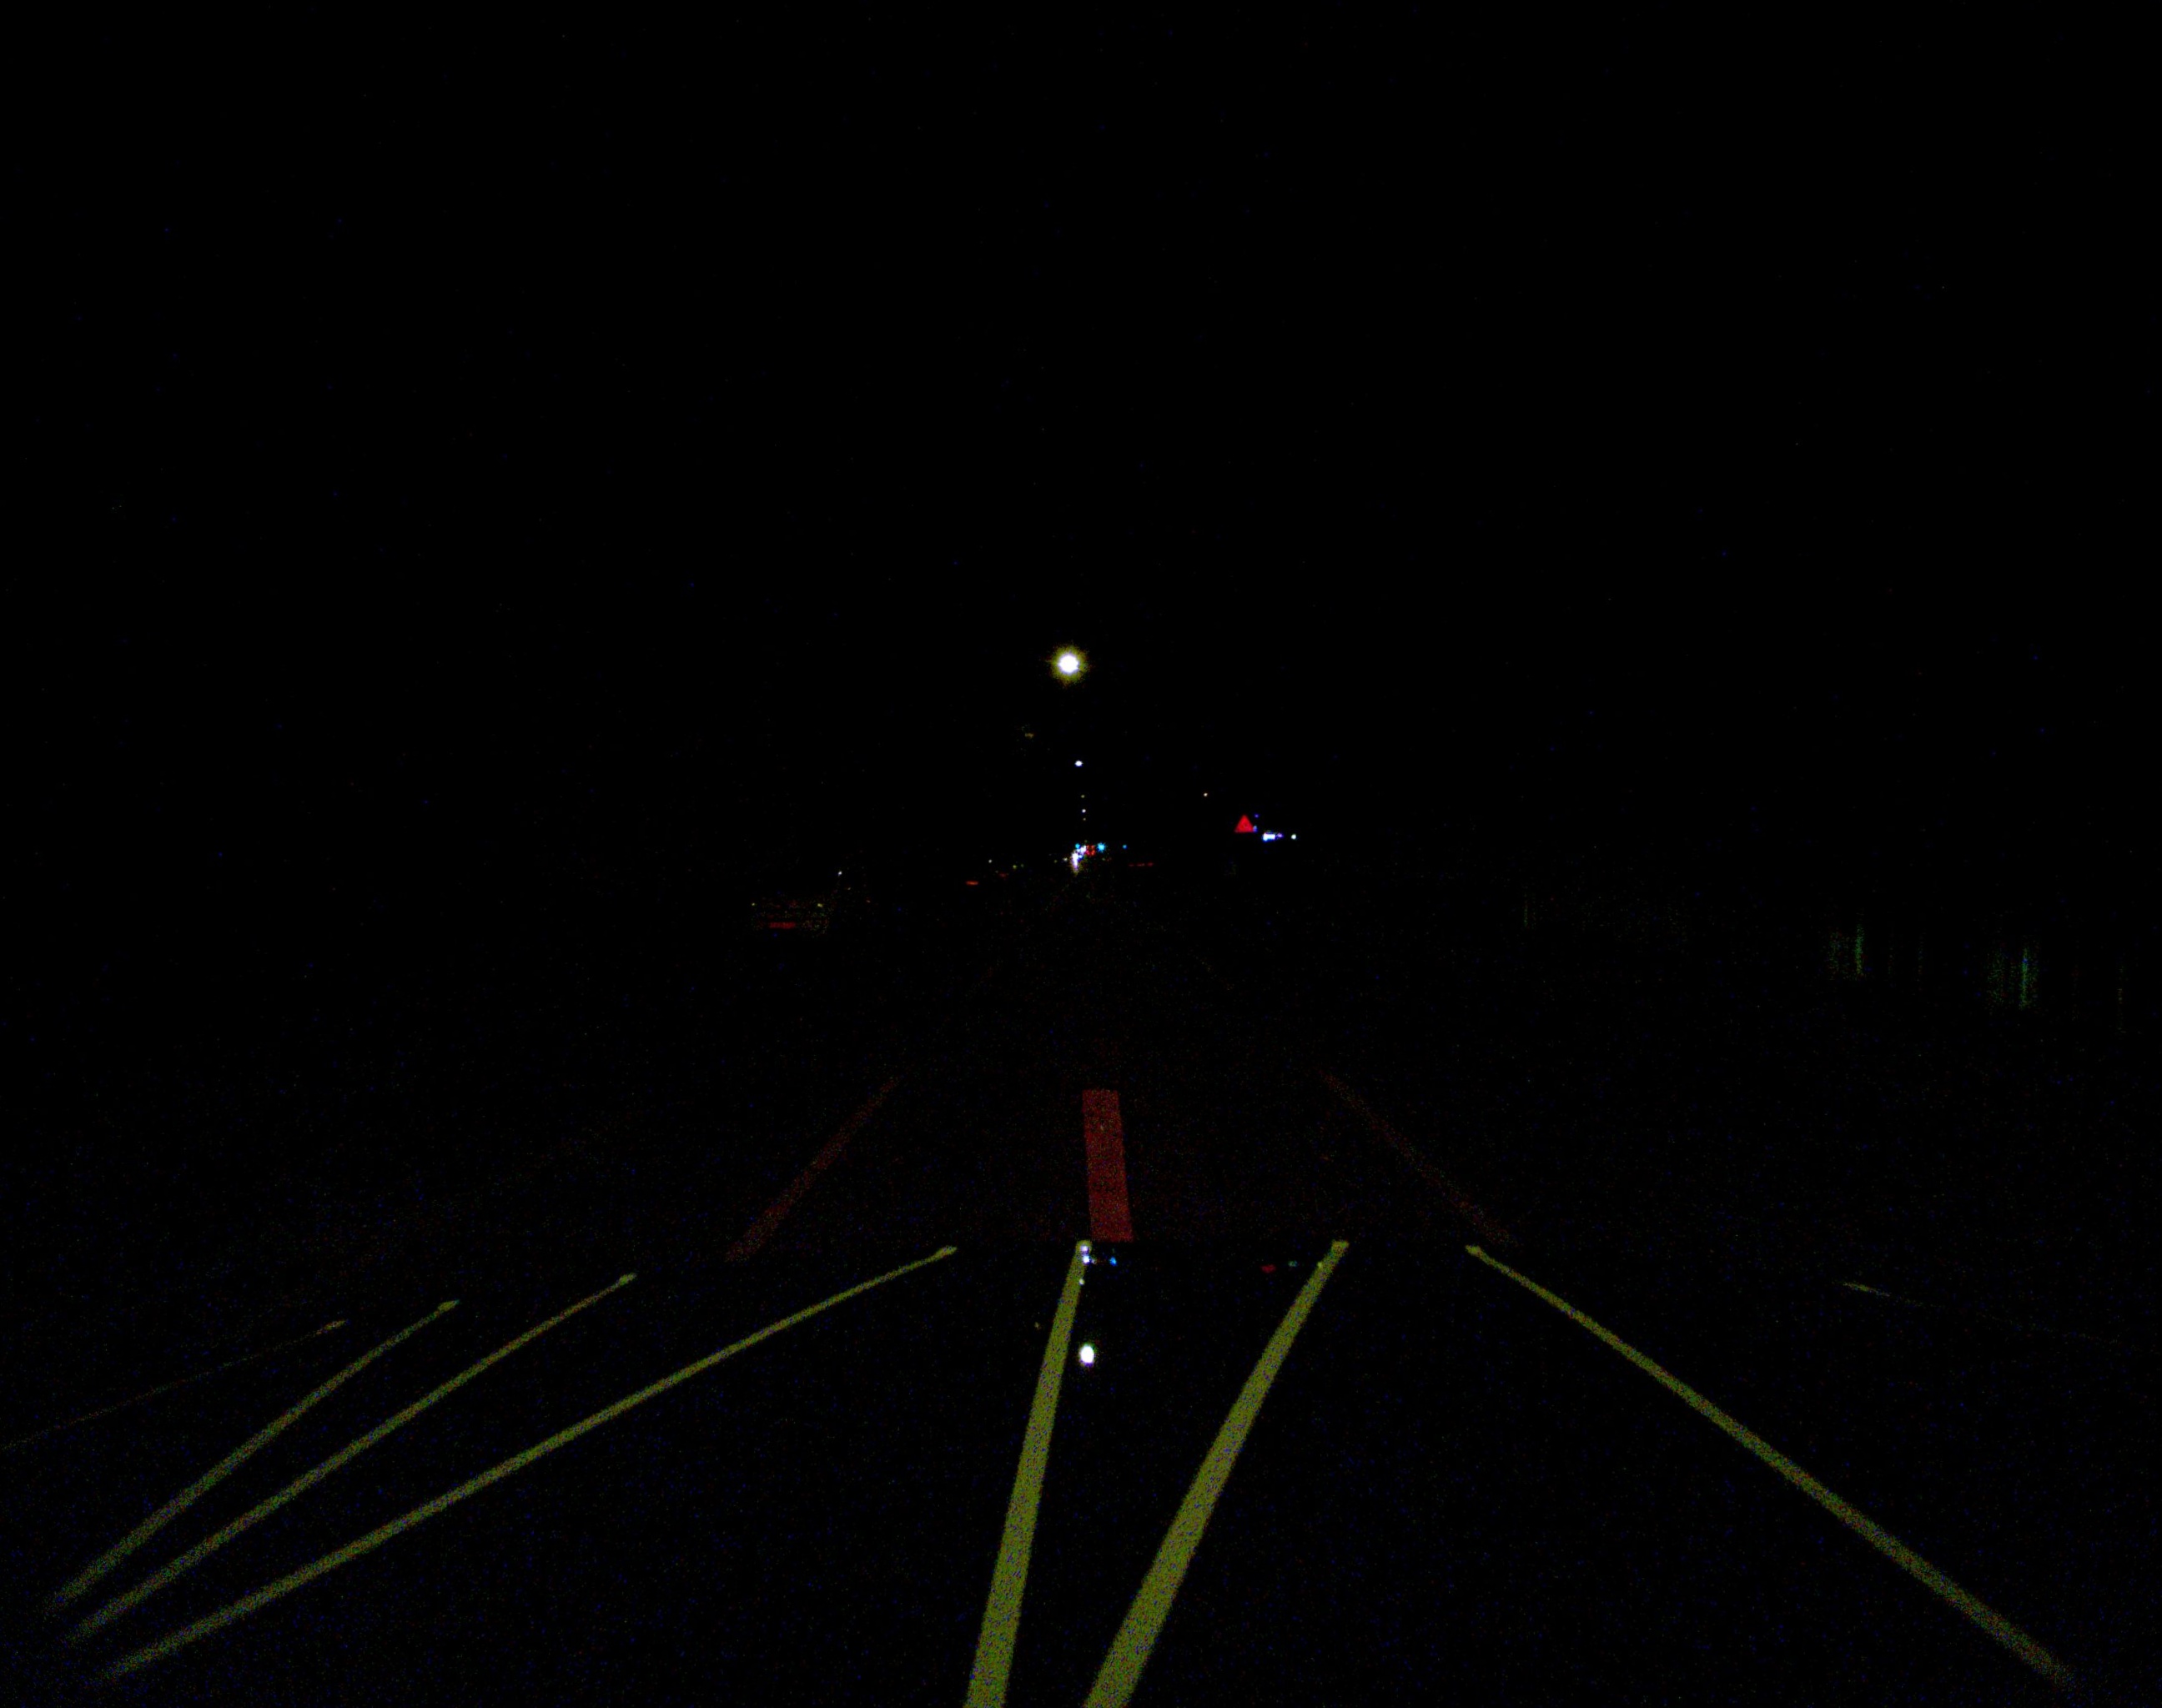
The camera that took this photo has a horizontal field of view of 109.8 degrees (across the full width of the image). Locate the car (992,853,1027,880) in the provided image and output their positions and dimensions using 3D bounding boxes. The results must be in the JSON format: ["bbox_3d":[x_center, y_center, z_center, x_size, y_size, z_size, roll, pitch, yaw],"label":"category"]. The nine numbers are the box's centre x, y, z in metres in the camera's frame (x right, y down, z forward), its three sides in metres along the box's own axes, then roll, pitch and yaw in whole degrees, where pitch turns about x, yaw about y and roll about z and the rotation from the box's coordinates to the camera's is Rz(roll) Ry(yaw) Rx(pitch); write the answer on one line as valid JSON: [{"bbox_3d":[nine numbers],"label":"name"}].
[{"bbox_3d":[-4.451,0.771,47.799,1.742,1.588,4.359,0,0,1],"label":"car"}]

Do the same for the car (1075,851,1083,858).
[{"bbox_3d":[-0.430,0.195,181.155,1.874,1.635,3.999,-2,0,0],"label":"car"}]

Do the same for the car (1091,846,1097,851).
[{"bbox_3d":[4.364,-1.810,249.986,1.873,1.635,4.000,-2,0,1],"label":"car"}]

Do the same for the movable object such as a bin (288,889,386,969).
[{"bbox_3d":[-10.627,1.059,10.879,0.609,1.042,0.755,-2,1,1],"label":"movable object such as a bin"}]

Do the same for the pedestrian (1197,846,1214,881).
[{"bbox_3d":[6.138,0.471,37.630,0.743,1.662,1.104,-2,1,7],"label":"pedestrian"}]

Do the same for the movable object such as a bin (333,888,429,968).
[{"bbox_3d":[-9.996,1.040,10.876,0.609,1.042,0.755,-2,1,1],"label":"movable object such as a bin"}]

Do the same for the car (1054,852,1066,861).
[{"bbox_3d":[-3.574,0.395,128.701,1.874,1.407,3.999,-2,0,0],"label":"car"}]

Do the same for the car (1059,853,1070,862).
[{"bbox_3d":[-2.978,0.569,134.790,1.874,1.407,3.999,-2,0,0],"label":"car"}]

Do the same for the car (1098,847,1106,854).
[{"bbox_3d":[5.006,-0.758,180.303,1.873,1.551,4.353,-2,0,1],"label":"car"}]

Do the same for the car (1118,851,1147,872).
[{"bbox_3d":[3.894,0.560,57.834,1.864,1.458,3.896,-4,0,-1],"label":"car"}]

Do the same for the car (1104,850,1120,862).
[{"bbox_3d":[4.445,0.297,110.053,1.874,1.635,3.999,-2,0,-3],"label":"car"}]

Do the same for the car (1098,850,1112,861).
[{"bbox_3d":[3.732,0.208,119.484,1.874,1.635,3.999,-2,0,-3],"label":"car"}]

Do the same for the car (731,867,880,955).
[{"bbox_3d":[-5.336,1.030,15.192,1.672,1.476,3.603,0,0,0],"label":"car"}]

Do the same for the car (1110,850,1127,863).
[{"bbox_3d":[4.969,0.329,100.859,1.874,1.635,3.999,-2,0,-3],"label":"car"}]

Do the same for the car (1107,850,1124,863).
[{"bbox_3d":[4.727,0.356,105.115,1.874,1.635,3.999,-2,0,-3],"label":"car"}]

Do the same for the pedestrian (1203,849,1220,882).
[{"bbox_3d":[6.799,0.588,39.652,0.670,1.716,0.866,-2,1,-2],"label":"pedestrian"}]

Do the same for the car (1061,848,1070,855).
[{"bbox_3d":[-3.316,-0.511,163.221,1.874,1.407,3.999,-2,0,0],"label":"car"}]

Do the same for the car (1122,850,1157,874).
[{"bbox_3d":[3.971,0.517,52.319,1.864,1.524,4.587,-4,0,-1],"label":"car"}]

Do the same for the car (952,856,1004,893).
[{"bbox_3d":[-4.568,0.871,34.278,1.865,1.544,4.044,0,0,-1],"label":"car"}]

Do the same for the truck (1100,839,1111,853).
[{"bbox_3d":[4.972,-1.623,155.497,2.084,2.562,6.873,-2,0,1],"label":"truck"}]
